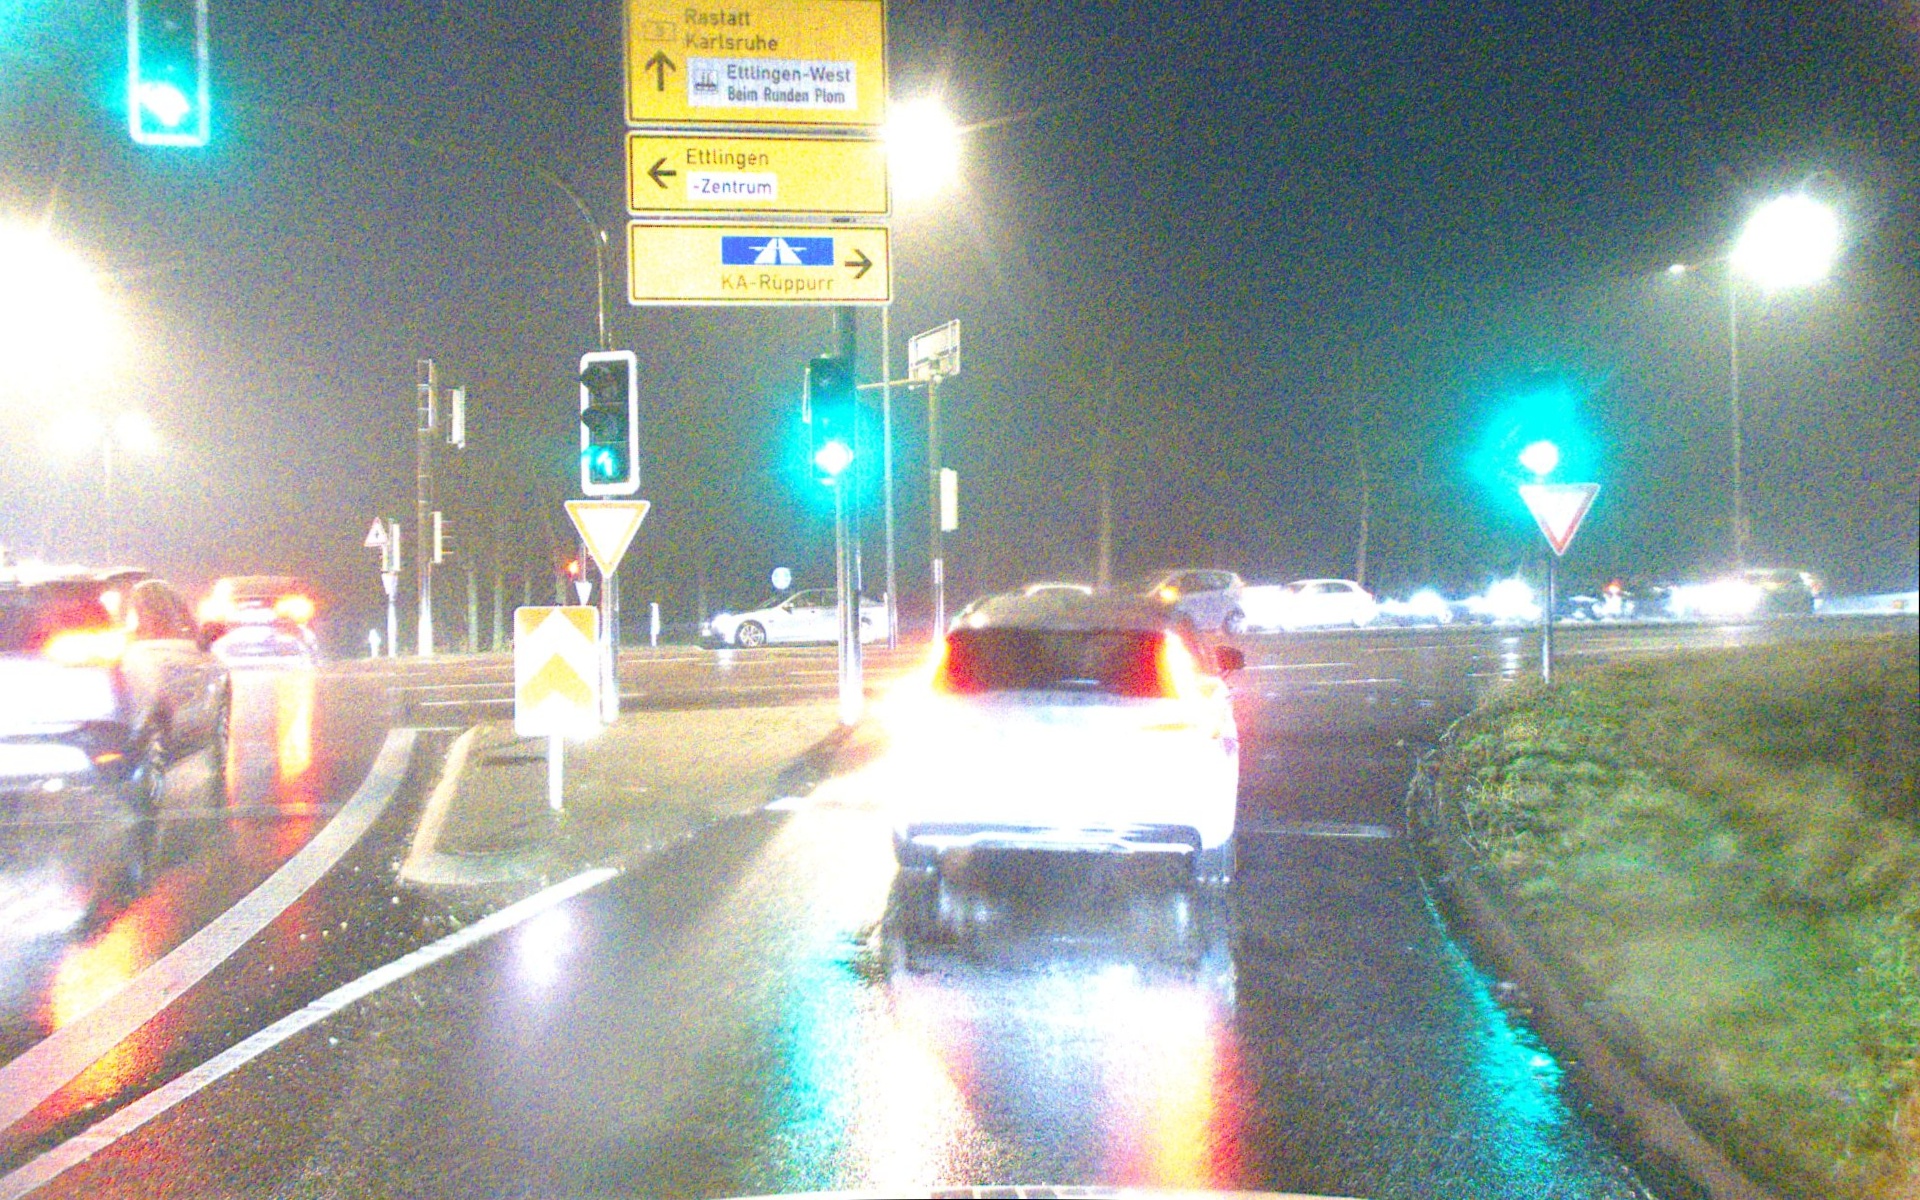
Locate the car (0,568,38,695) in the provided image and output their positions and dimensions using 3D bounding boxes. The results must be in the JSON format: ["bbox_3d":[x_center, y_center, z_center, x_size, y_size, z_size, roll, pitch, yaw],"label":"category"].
[{"bbox_3d":[-13.972,0.438,22.531,1.882,1.687,3.961,0,0,-21],"label":"car"}]

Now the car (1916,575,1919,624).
[{"bbox_3d":[39.277,0.020,64.328,3.940,1.881,1.813,1,0,-28],"label":"car"}]

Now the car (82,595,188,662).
[{"bbox_3d":[-19.375,0.646,38.984,1.629,1.470,3.773,0,0,-17],"label":"car"}]

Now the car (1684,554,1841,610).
[{"bbox_3d":[22.778,-0.536,46.920,4.344,1.509,1.768,-1,1,-26],"label":"car"}]

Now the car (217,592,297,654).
[{"bbox_3d":[-18.015,0.574,42.529,1.674,1.489,4.288,0,0,-20],"label":"car"}]

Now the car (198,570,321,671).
[{"bbox_3d":[-12.808,0.321,30.113,1.805,1.682,4.442,1,0,-26],"label":"car"}]

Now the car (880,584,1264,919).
[{"bbox_3d":[0.824,0.662,9.710,1.758,1.477,4.272,0,1,9],"label":"car"}]

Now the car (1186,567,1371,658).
[{"bbox_3d":[10.027,0.404,51.981,5.524,2.757,2.237,1,-1,-27],"label":"car"}]

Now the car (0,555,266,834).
[{"bbox_3d":[-6.148,0.558,11.525,1.819,1.619,4.008,1,0,-14],"label":"car"}]

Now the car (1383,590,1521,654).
[{"bbox_3d":[15.141,0.677,50.862,4.064,1.880,1.749,1,-1,-28],"label":"car"}]

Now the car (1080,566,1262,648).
[{"bbox_3d":[4.859,0.129,38.019,3.841,1.755,1.751,-1,1,-26],"label":"car"}]

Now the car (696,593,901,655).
[{"bbox_3d":[-3.945,0.590,40.664,4.730,1.452,1.750,1,-1,-27],"label":"car"}]

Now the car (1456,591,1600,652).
[{"bbox_3d":[16.407,0.607,47.739,3.918,1.695,1.788,1,-1,-28],"label":"car"}]

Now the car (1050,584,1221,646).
[{"bbox_3d":[4.433,0.378,41.697,3.991,1.513,1.705,1,-1,-24],"label":"car"}]

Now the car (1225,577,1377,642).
[{"bbox_3d":[9.948,0.280,48.144,4.187,1.830,1.788,1,-1,-28],"label":"car"}]

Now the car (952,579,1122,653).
[{"bbox_3d":[2.050,0.418,43.757,4.221,1.880,1.749,1,-1,-28],"label":"car"}]

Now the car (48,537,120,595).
[{"bbox_3d":[-33.527,-1.279,63.386,1.748,2.115,3.979,1,0,-18],"label":"car"}]
